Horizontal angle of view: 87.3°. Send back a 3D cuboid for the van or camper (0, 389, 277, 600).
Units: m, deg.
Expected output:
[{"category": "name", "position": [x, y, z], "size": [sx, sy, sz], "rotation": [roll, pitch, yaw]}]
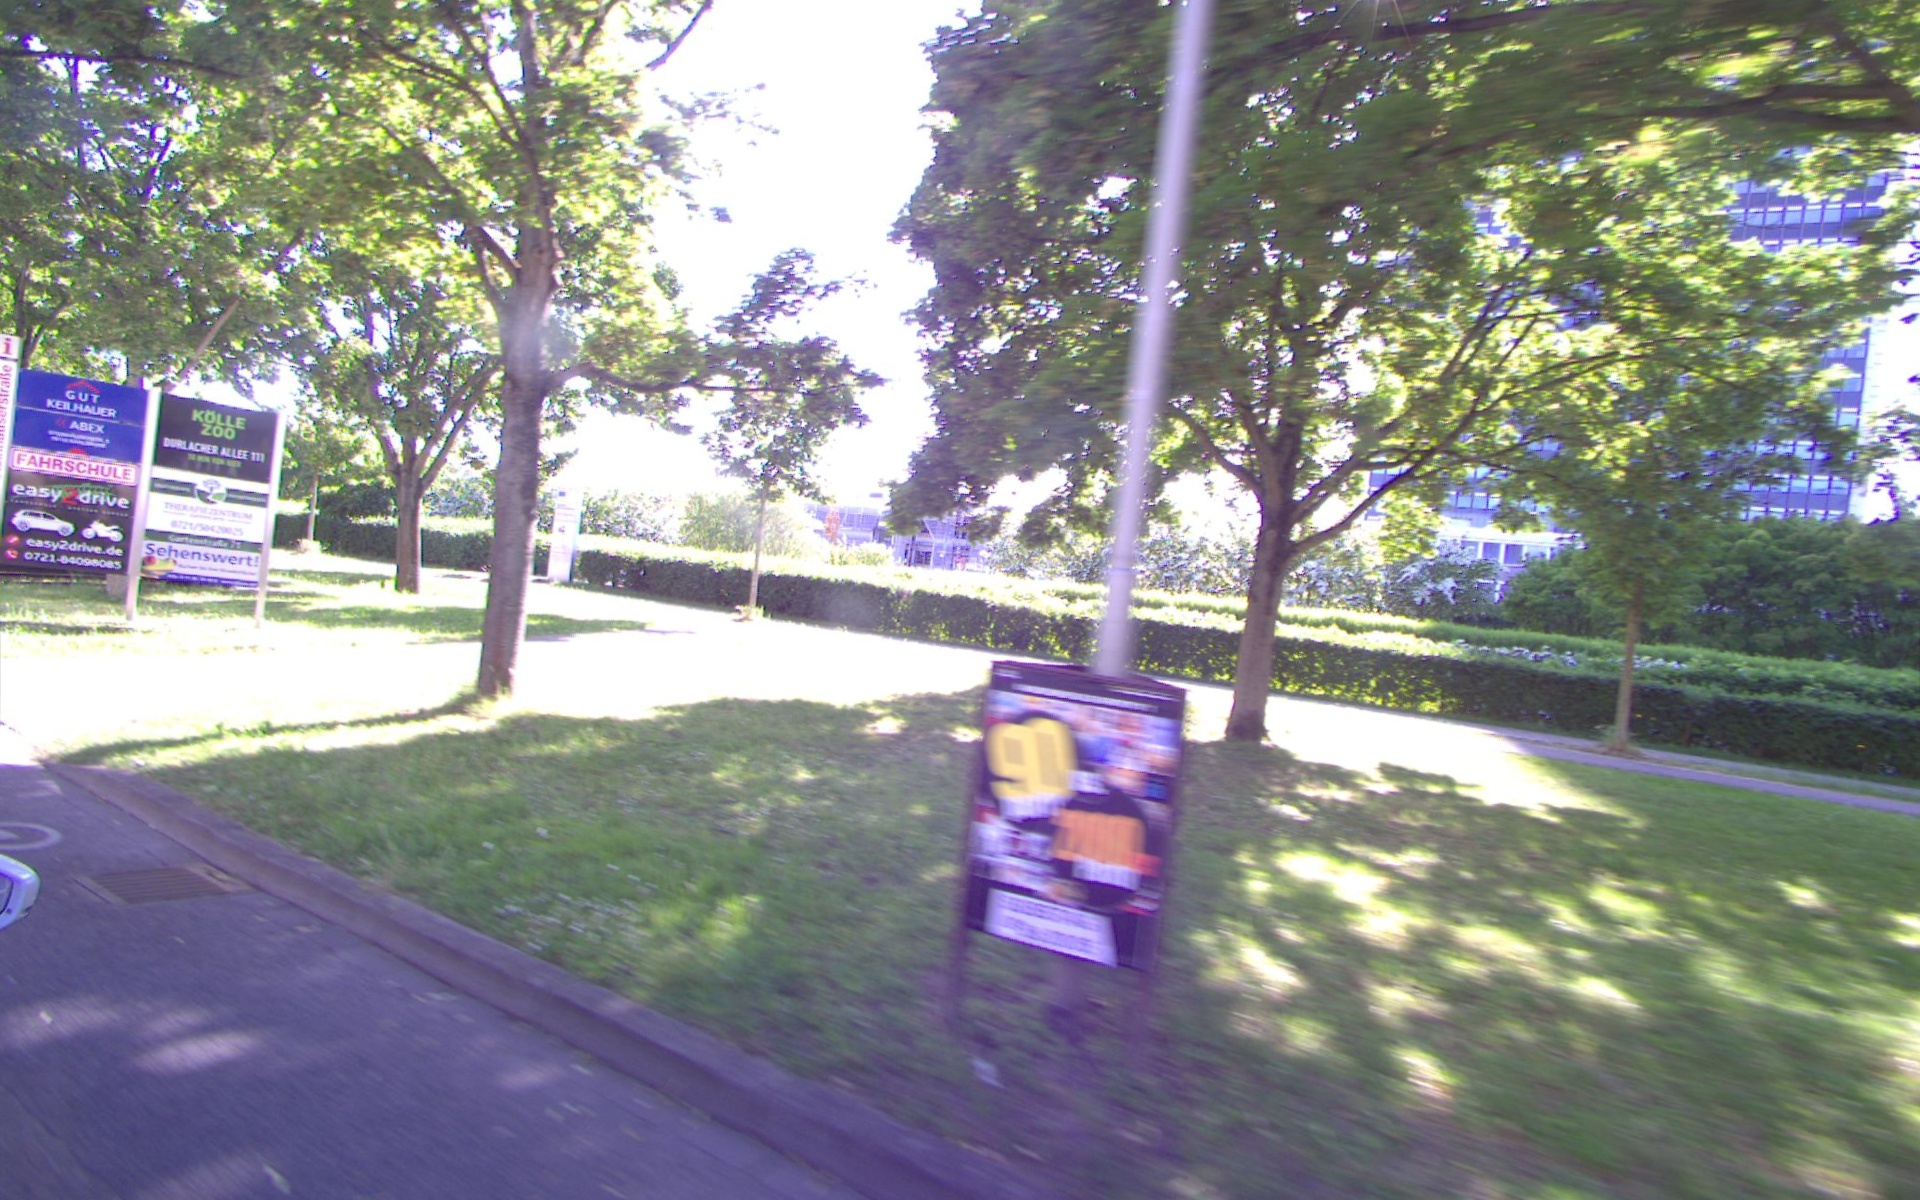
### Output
[{"category": "van or camper", "position": [-14.913, -1.712, 16.042], "size": [2.536, 2.967, 6.071], "rotation": [6, 2, 37]}]
